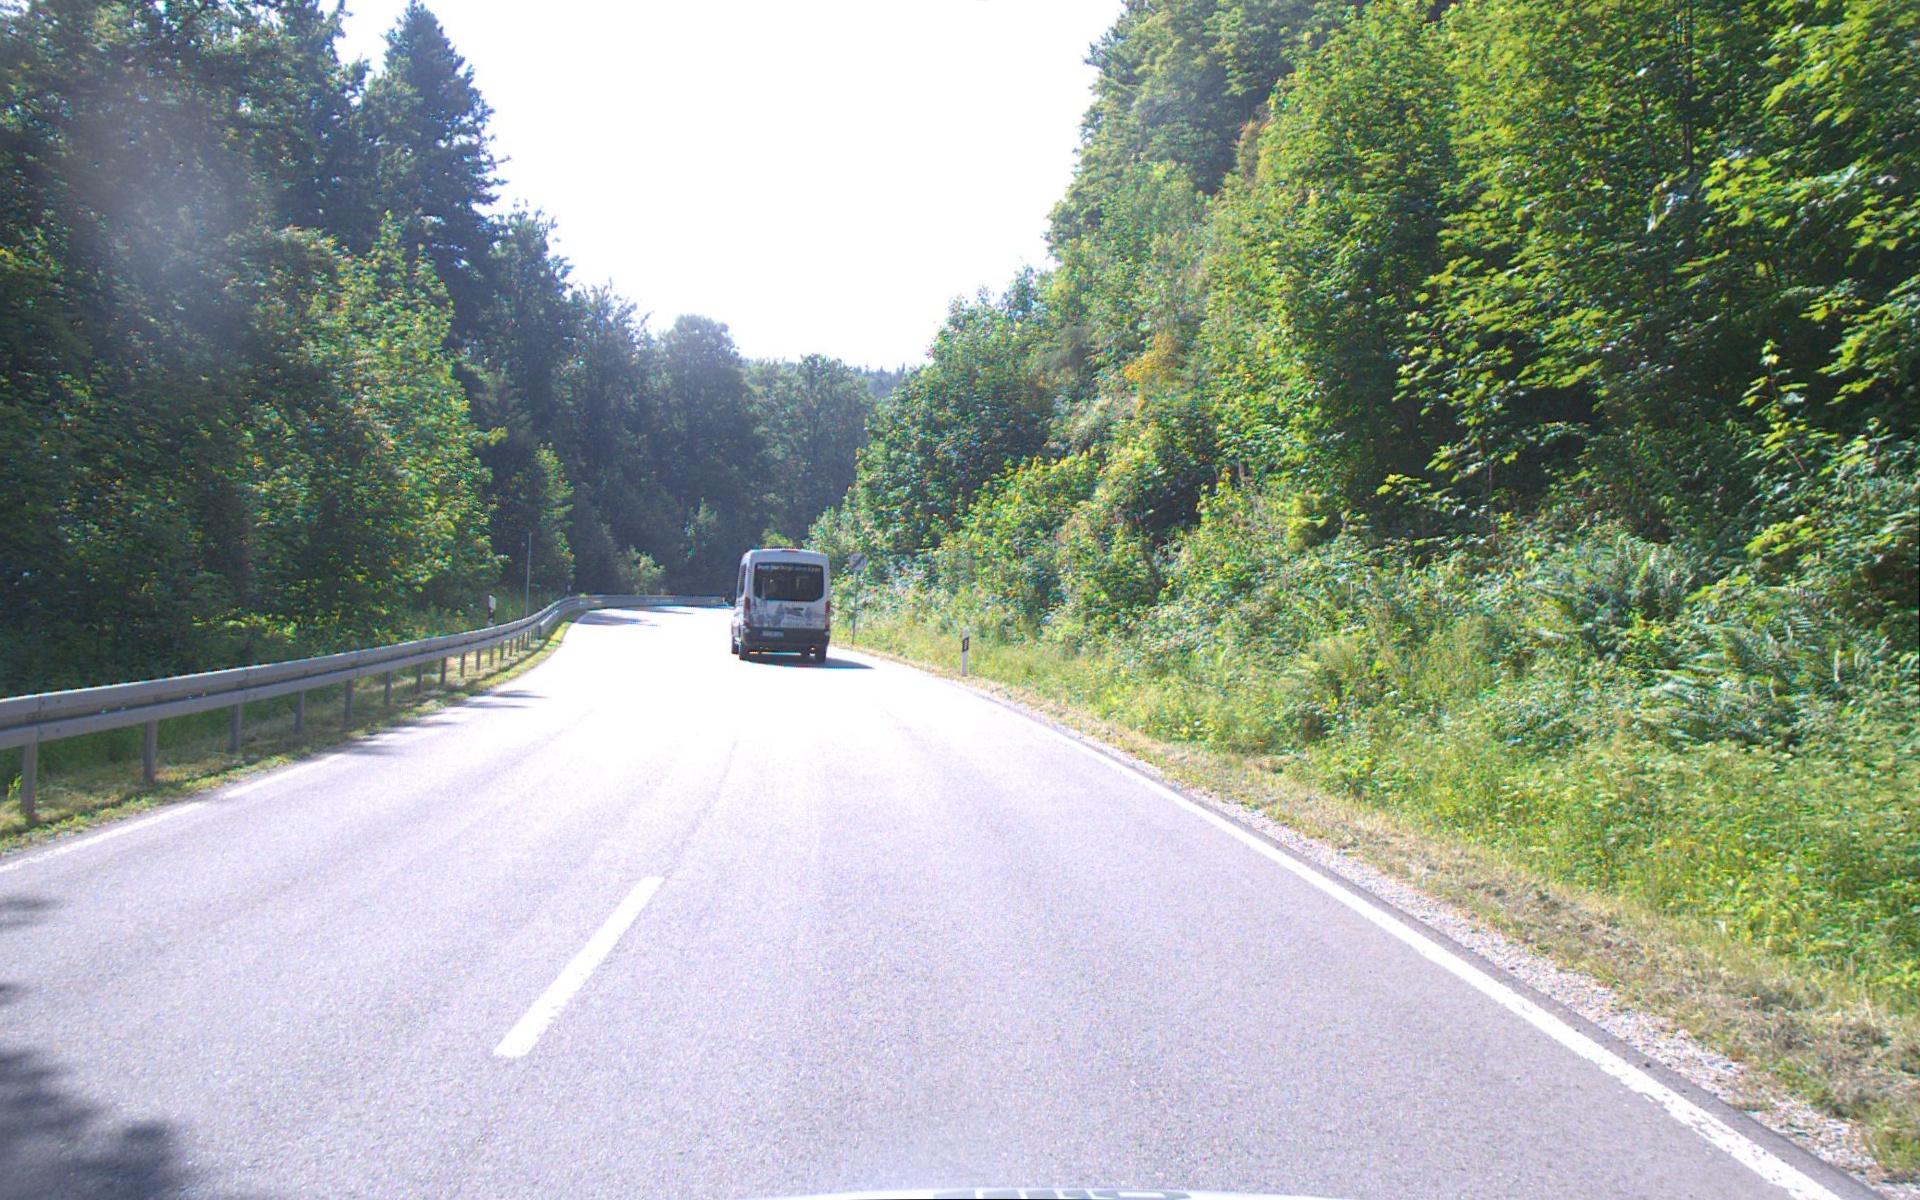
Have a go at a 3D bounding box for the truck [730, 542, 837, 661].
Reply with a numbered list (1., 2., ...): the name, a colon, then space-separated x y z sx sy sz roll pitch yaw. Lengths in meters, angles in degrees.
1. truck: -4.226 0.029 38.854 2.077 2.542 5.346 1 0 -10
